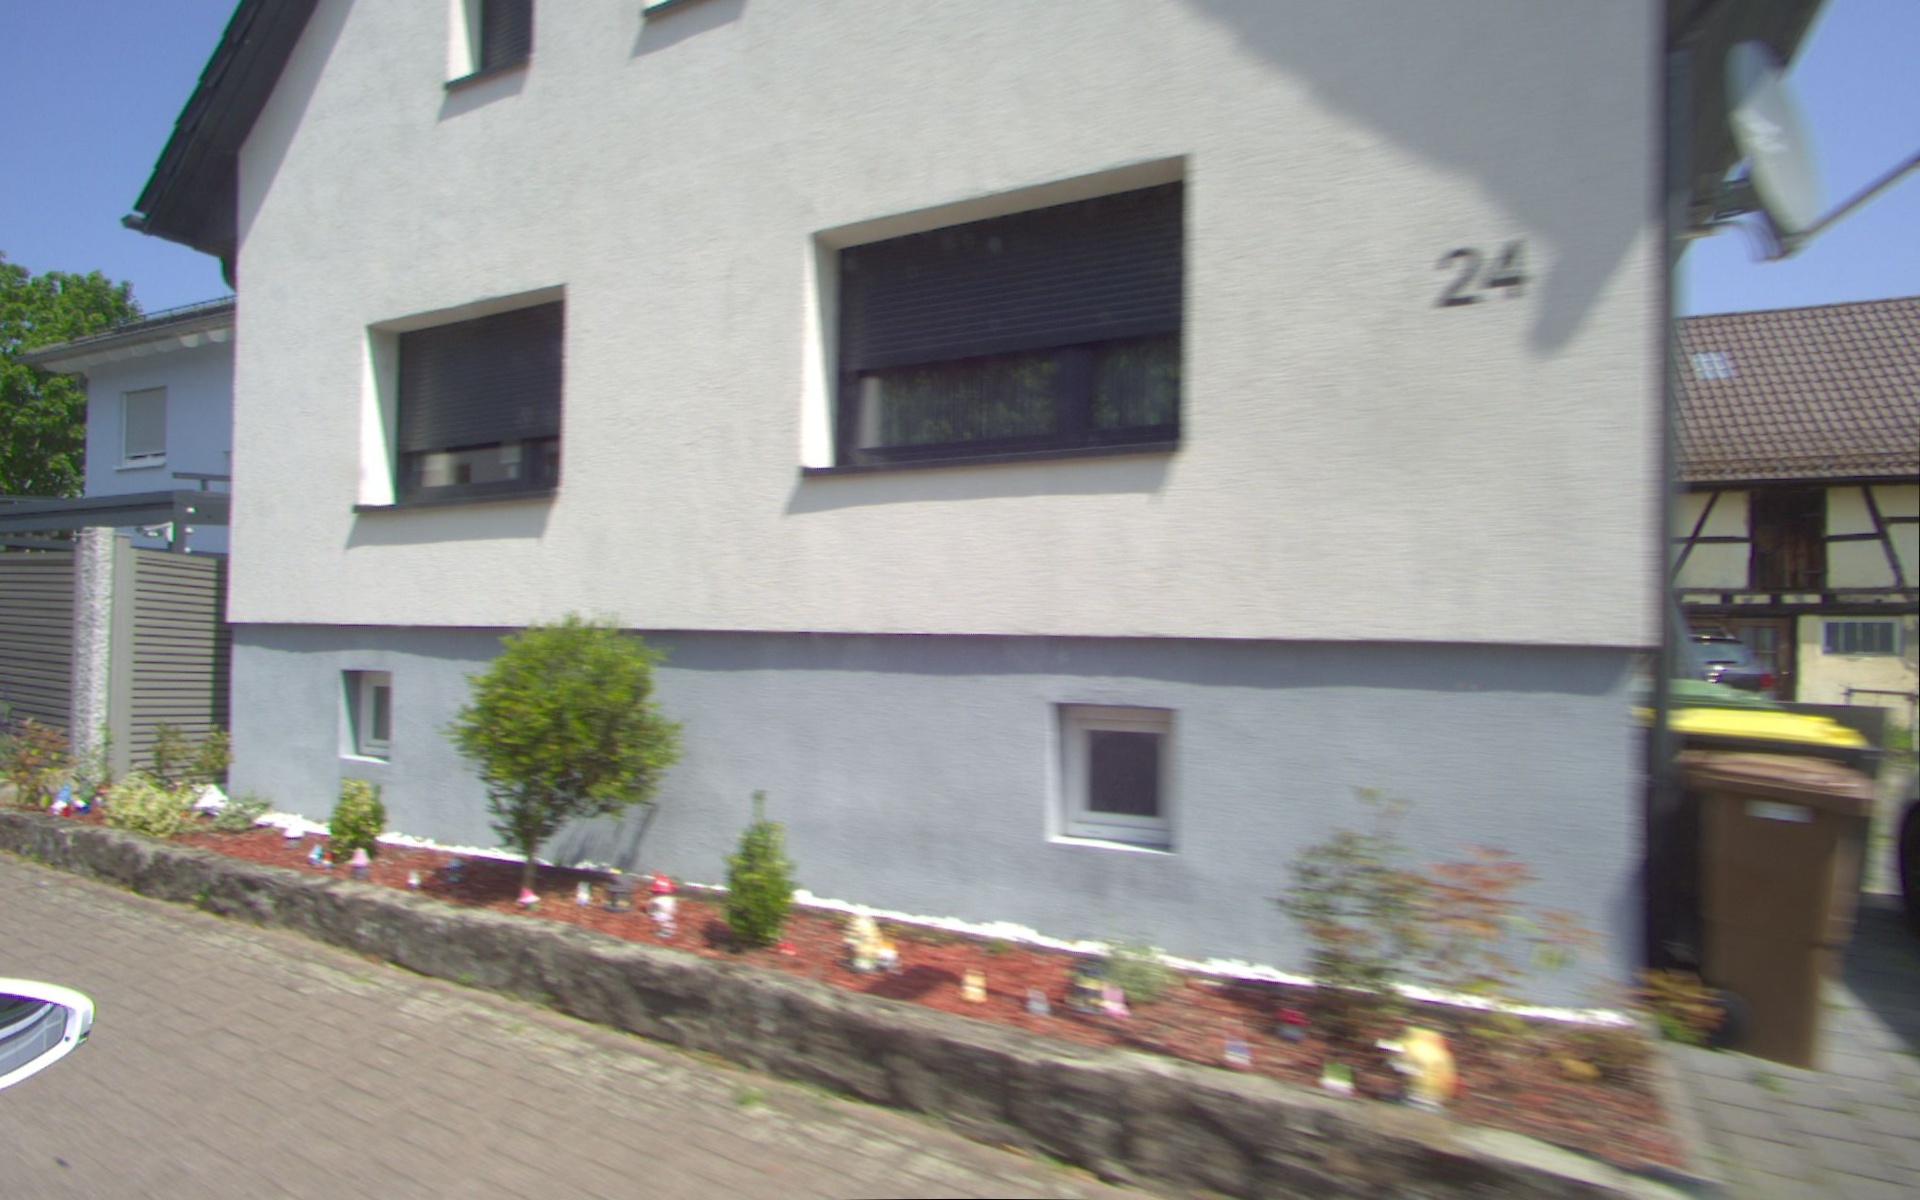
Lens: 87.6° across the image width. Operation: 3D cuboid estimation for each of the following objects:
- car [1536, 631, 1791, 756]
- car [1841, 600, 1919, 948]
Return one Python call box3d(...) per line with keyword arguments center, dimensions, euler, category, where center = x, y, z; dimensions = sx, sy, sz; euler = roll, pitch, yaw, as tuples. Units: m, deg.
box3d(center=(9.795, 1.256, 14.292), dimensions=(1.686, 1.510, 3.576), euler=(1, -3, 12), category="car")
box3d(center=(4.521, 0.750, 3.061), dimensions=(1.736, 1.494, 3.657), euler=(1, 0, 25), category="car")
